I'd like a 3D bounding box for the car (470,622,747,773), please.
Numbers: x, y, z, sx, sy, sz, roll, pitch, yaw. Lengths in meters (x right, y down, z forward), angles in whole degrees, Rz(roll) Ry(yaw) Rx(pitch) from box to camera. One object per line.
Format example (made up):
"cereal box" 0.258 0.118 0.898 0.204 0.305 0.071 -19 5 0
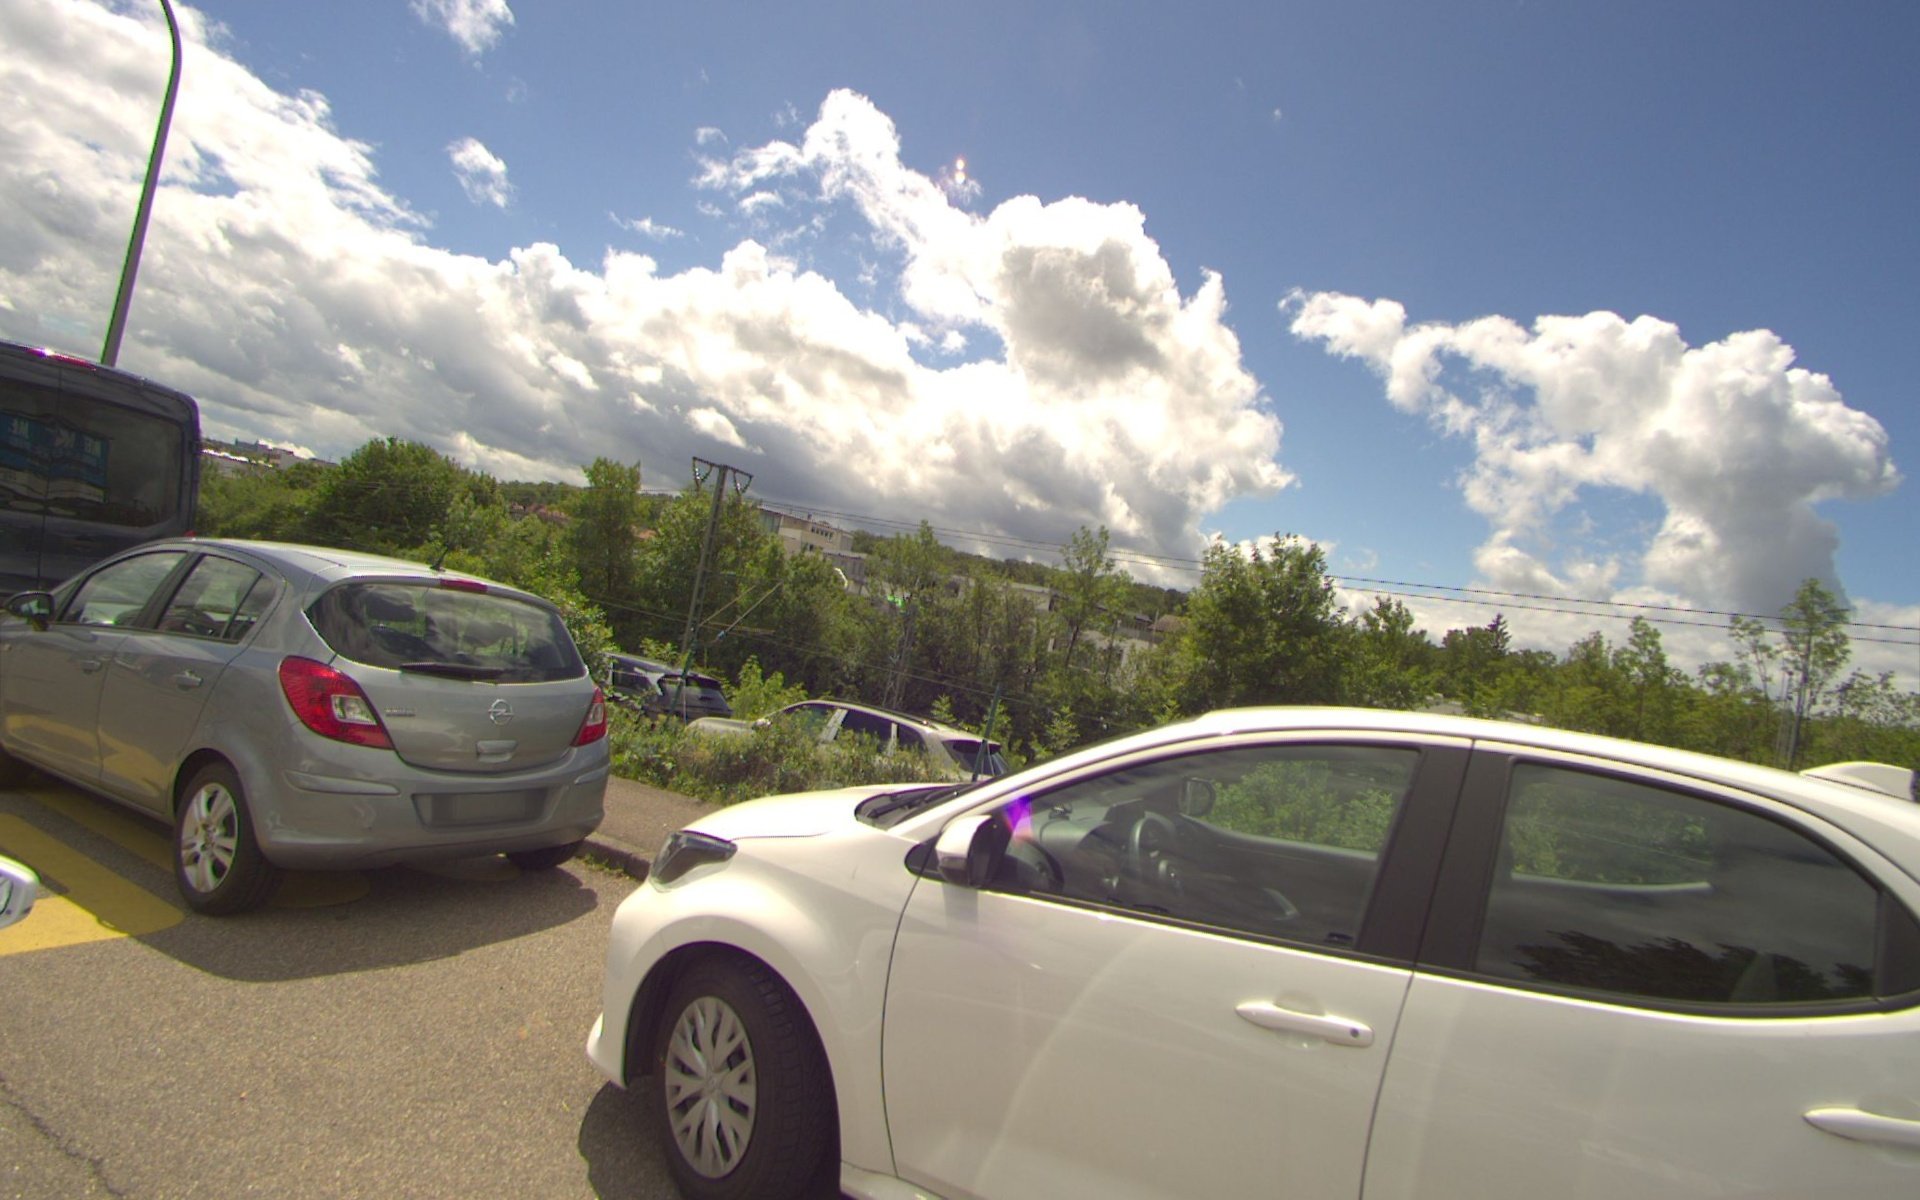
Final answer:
"car" -5.190 1.403 14.781 3.633 1.526 1.711 8 -3 30

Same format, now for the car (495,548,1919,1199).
"car" 0.905 0.938 2.633 3.889 1.495 1.712 8 -3 29

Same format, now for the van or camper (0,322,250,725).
"van or camper" -8.661 -0.768 8.262 5.816 2.614 2.130 7 -2 30

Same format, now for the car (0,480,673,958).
"car" -3.533 0.403 5.222 3.633 1.526 1.711 8 -3 30

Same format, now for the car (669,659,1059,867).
"car" -1.250 1.888 12.415 4.452 1.526 1.711 8 -3 30

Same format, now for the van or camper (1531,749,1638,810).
"van or camper" 38.772 11.140 62.527 5.225 2.719 1.925 6 -4 39
